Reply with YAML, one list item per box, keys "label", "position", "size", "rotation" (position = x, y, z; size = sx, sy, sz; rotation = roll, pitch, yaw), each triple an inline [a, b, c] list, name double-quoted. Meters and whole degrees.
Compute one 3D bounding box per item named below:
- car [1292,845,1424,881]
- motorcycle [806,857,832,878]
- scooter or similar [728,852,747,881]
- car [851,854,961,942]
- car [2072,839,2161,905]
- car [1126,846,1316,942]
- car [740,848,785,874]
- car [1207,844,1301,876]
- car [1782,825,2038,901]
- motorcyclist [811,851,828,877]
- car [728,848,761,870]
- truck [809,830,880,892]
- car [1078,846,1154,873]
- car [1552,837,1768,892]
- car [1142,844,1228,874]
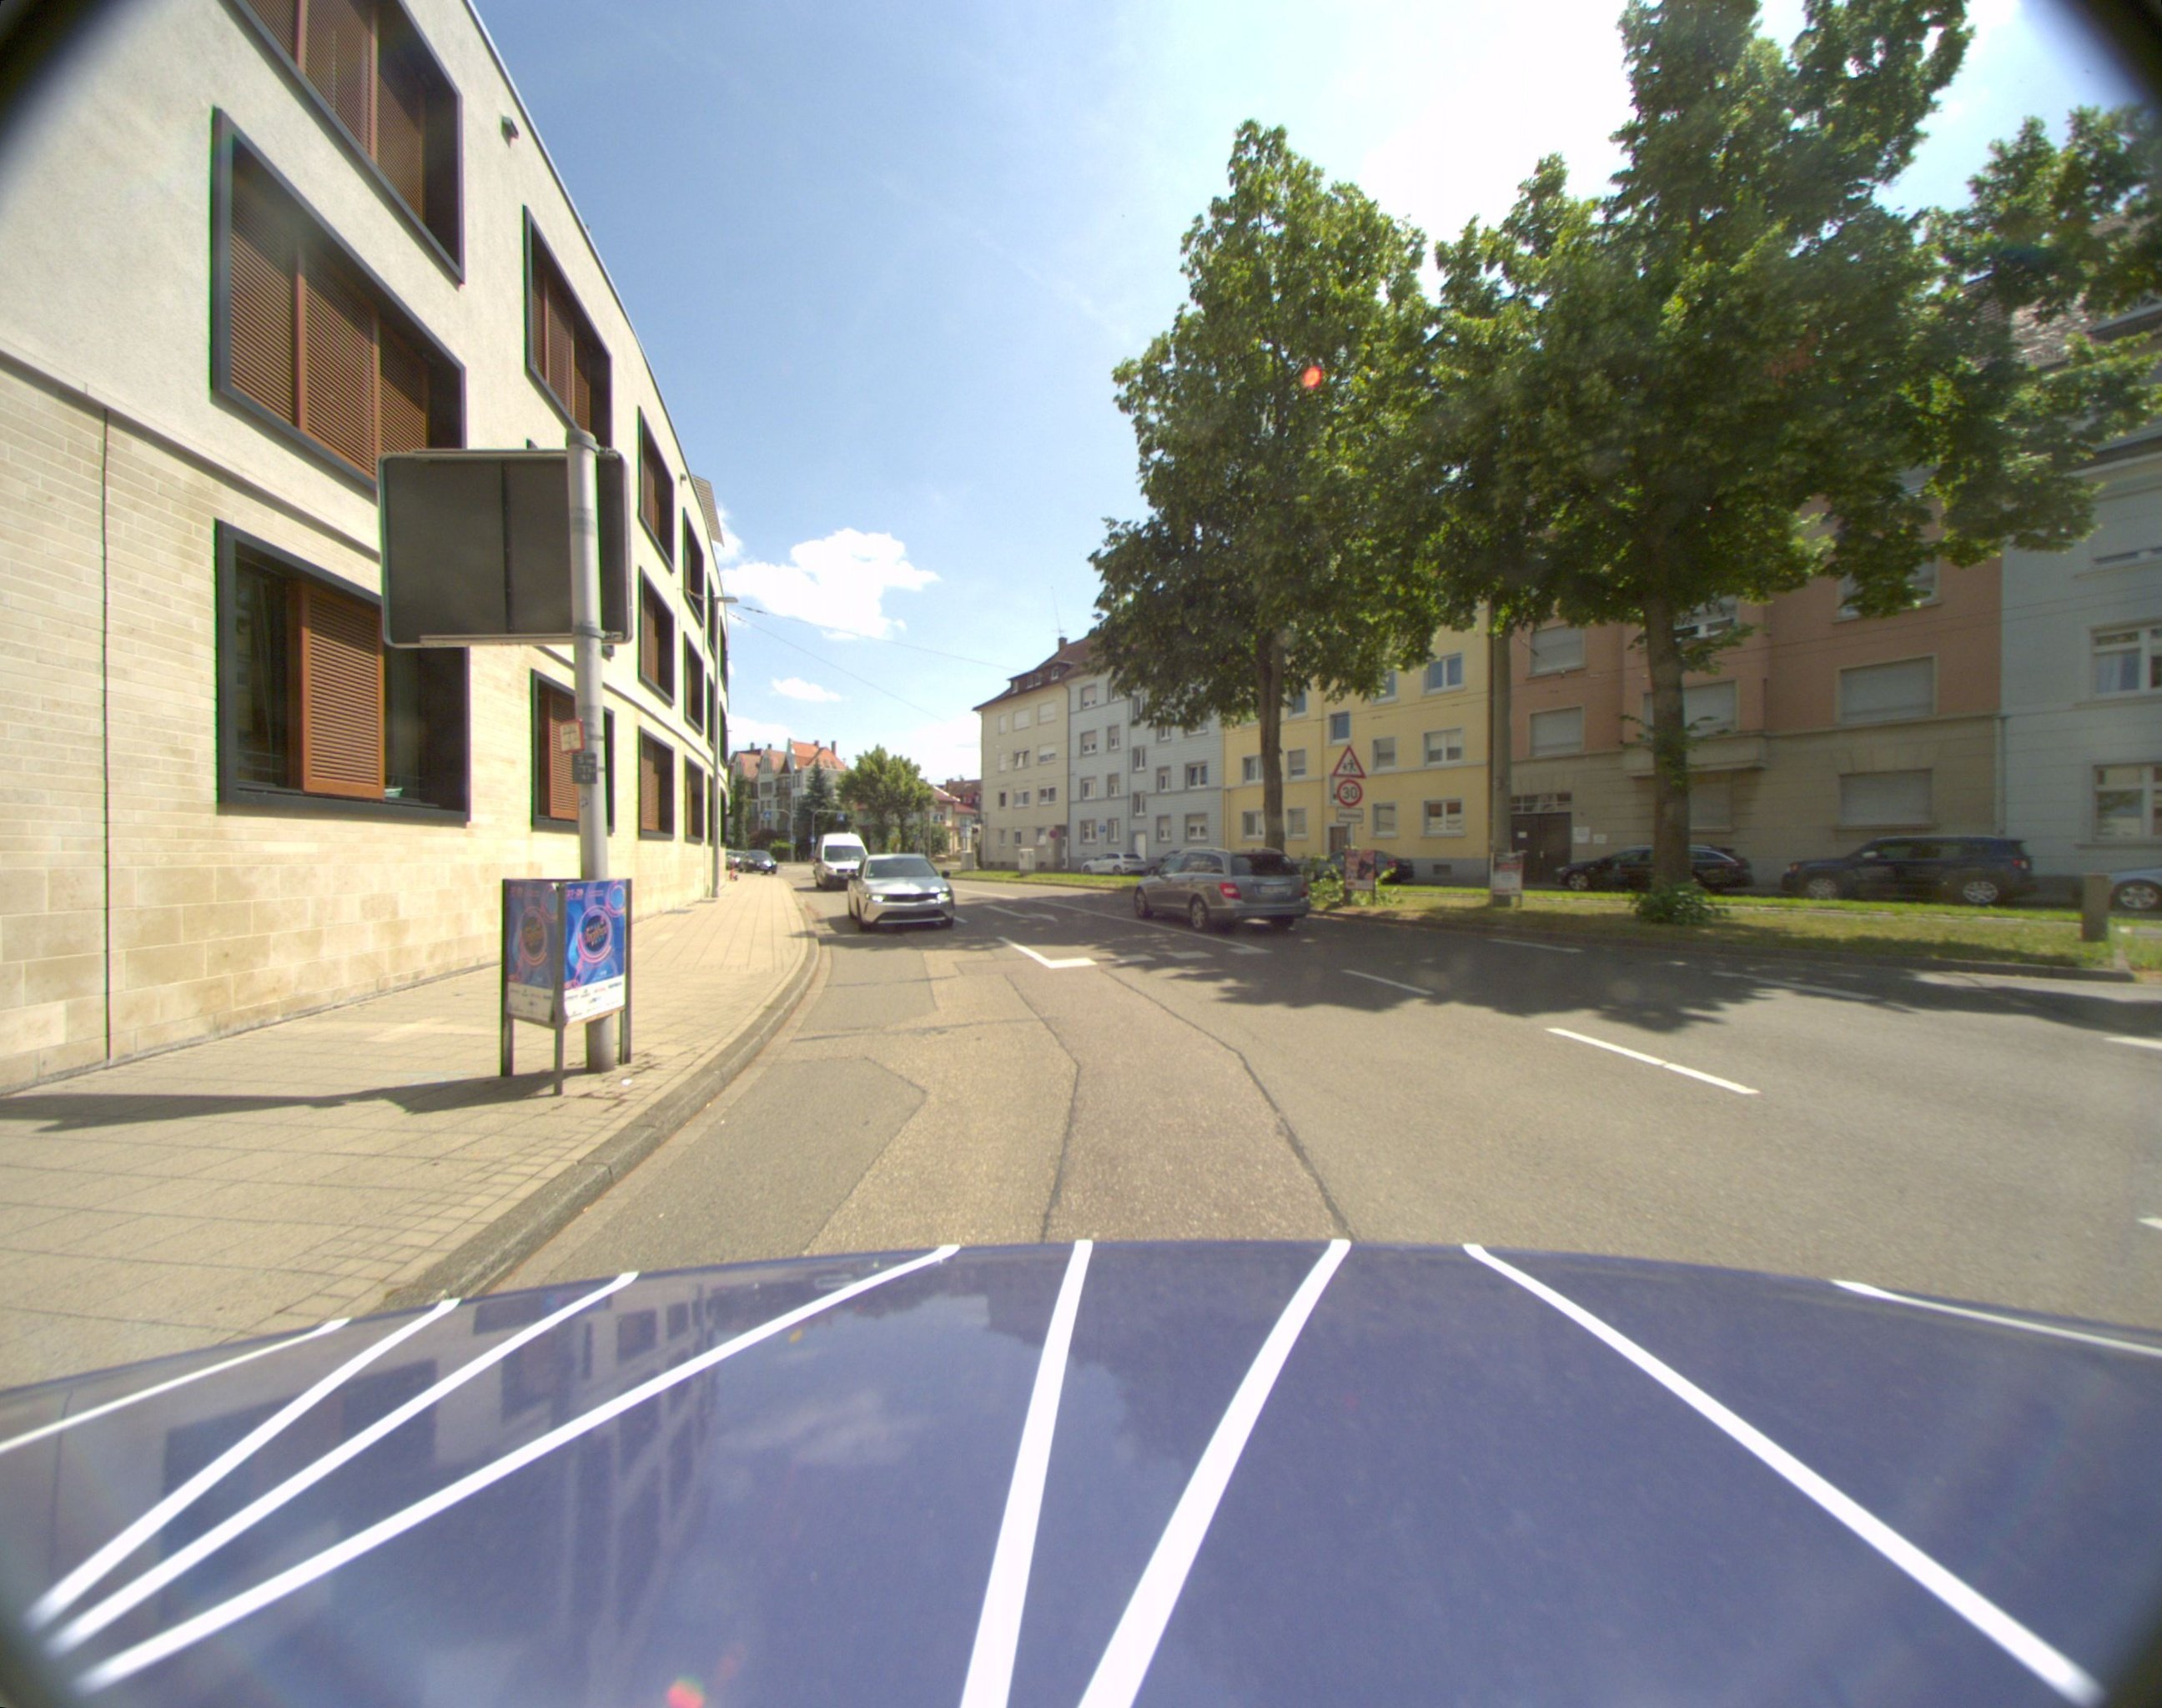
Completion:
- label: "car"
  position: [11.253, 0.360, 31.237]
  size: [1.938, 1.389, 4.850]
  rotation: [1, -1, -35]
- label: "motorcycle"
  position: [-14.095, 0.716, 41.006]
  size: [1.058, 1.073, 2.613]
  rotation: [-2, 1, -14]
- label: "scooter or similar"
  position: [-15.225, 0.541, 33.689]
  size: [0.584, 1.253, 1.364]
  rotation: [2, 0, -31]
- label: "car"
  position: [-3.752, 0.778, 15.758]
  size: [1.804, 1.458, 4.164]
  rotation: [-2, 2, -18]
- label: "car"
  position: [23.313, 0.384, 15.181]
  size: [1.817, 1.348, 4.238]
  rotation: [1, -1, -37]
- label: "car"
  position: [2.407, 0.611, 14.326]
  size: [1.744, 1.479, 4.401]
  rotation: [-1, 1, -16]
- label: "car"
  position: [-20.587, 0.425, 49.011]
  size: [1.809, 1.500, 4.535]
  rotation: [3, -1, -33]
- label: "car"
  position: [8.072, 0.286, 35.747]
  size: [1.840, 1.392, 4.131]
  rotation: [1, 0, -36]
- label: "car"
  position: [20.472, 0.225, 18.928]
  size: [1.846, 1.675, 4.131]
  rotation: [1, -1, -37]
- label: "motorcyclist"
  position: [-14.002, 0.515, 40.673]
  size: [0.735, 1.329, 1.169]
  rotation: [-2, 1, -14]
- label: "car"
  position: [-24.409, 0.347, 55.067]
  size: [1.601, 1.424, 3.697]
  rotation: [3, -1, -31]
- label: "truck"
  position: [-9.650, 0.216, 30.673]
  size: [2.023, 2.237, 5.396]
  rotation: [-2, 2, -24]
- label: "car"
  position: [1.963, 0.297, 43.931]
  size: [1.938, 1.442, 4.364]
  rotation: [2, -1, -38]
- label: "car"
  position: [17.366, 0.295, 23.043]
  size: [1.938, 1.482, 4.850]
  rotation: [1, -1, -36]
- label: "car"
  position: [5.373, 0.264, 39.766]
  size: [1.938, 1.496, 4.314]
  rotation: [1, 0, -38]
